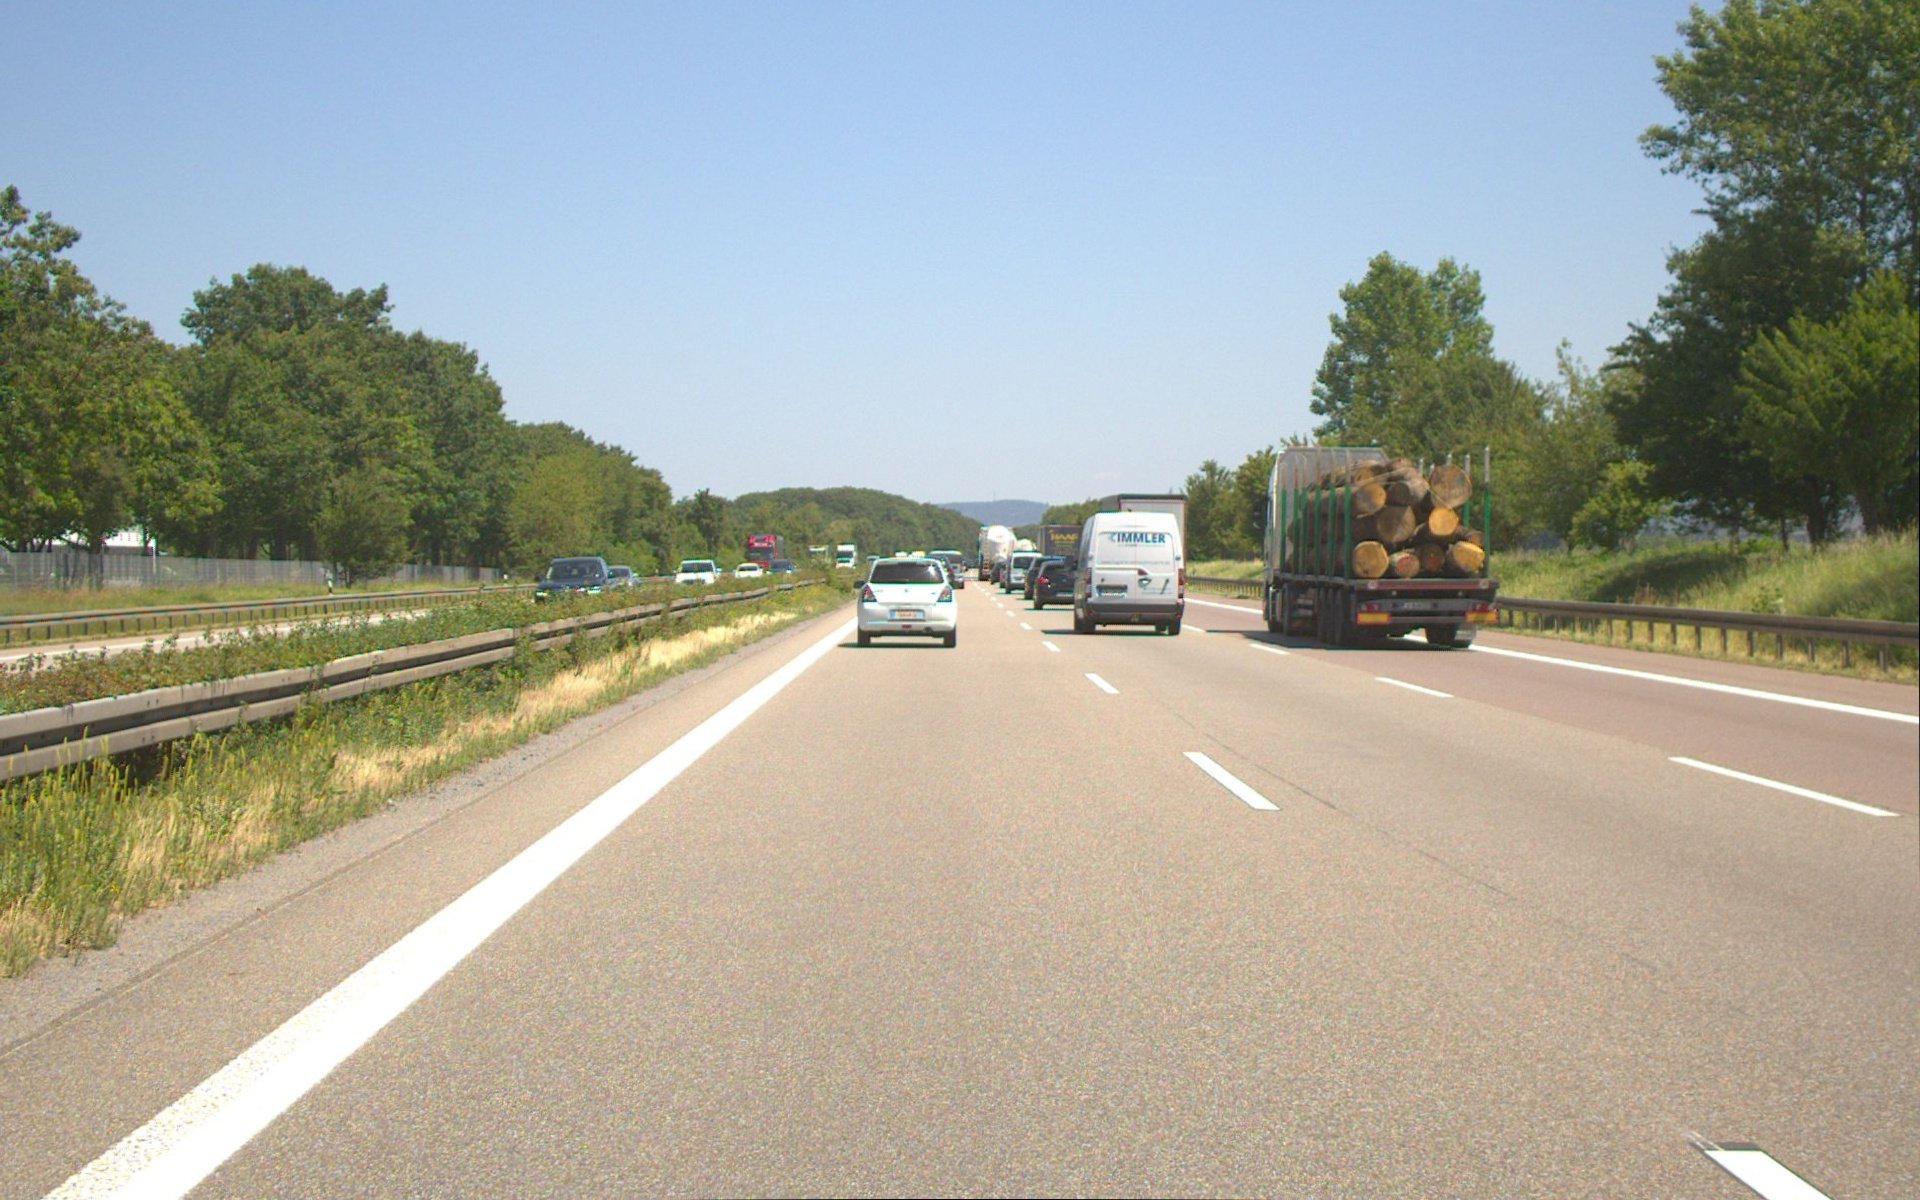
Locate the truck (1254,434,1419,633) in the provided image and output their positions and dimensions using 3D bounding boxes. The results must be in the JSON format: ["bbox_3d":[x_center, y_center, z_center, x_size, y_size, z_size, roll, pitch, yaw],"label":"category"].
[{"bbox_3d":[7.881,-1.380,72.725,2.670,3.981,6.636,1,1,0],"label":"truck"}]

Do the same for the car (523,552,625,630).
[{"bbox_3d":[-9.949,-0.253,88.986,1.993,1.880,5.648,2,1,0],"label":"car"}]

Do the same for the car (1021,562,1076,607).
[{"bbox_3d":[3.347,-0.612,130.458,1.857,1.646,4.000,1,1,-2],"label":"car"}]

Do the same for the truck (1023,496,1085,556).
[{"bbox_3d":[6.956,-5.444,256.815,3.257,4.194,16.845,2,1,-3],"label":"truck"}]

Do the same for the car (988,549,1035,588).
[{"bbox_3d":[2.239,-1.390,151.211,1.857,1.646,4.000,1,1,-2],"label":"car"}]

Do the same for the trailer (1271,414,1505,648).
[{"bbox_3d":[7.916,-1.269,65.426,2.653,3.945,13.637,1,1,0],"label":"trailer"}]

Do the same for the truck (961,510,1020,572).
[{"bbox_3d":[2.116,-4.186,246.560,3.257,4.194,16.845,2,1,-3],"label":"truck"}]

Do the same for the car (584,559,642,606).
[{"bbox_3d":[-13.895,-0.708,137.893,1.872,1.788,4.424,2,1,0],"label":"car"}]

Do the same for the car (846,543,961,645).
[{"bbox_3d":[-0.998,-0.126,59.240,1.857,1.646,4.000,2,1,-2],"label":"car"}]

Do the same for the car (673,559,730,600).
[{"bbox_3d":[-10.694,-0.863,142.328,1.993,1.634,4.573,2,1,0],"label":"car"}]

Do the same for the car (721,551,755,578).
[{"bbox_3d":[-14.834,-2.373,229.972,1.993,1.634,4.859,-4,1,-1],"label":"car"}]

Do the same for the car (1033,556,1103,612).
[{"bbox_3d":[3.252,-0.503,104.258,1.857,1.646,4.000,1,1,-2],"label":"car"}]

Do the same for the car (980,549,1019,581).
[{"bbox_3d":[2.062,-1.840,181.641,1.857,1.646,4.000,1,1,-2],"label":"car"}]

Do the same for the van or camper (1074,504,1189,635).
[{"bbox_3d":[3.549,-0.652,71.978,2.058,2.613,5.985,1,1,0],"label":"van or camper"}]

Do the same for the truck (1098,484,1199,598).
[{"bbox_3d":[7.418,-2.302,137.553,3.079,4.194,16.843,2,1,0],"label":"truck"}]

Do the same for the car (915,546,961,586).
[{"bbox_3d":[-0.945,-1.427,145.217,1.857,1.646,4.000,1,1,-2],"label":"car"}]
